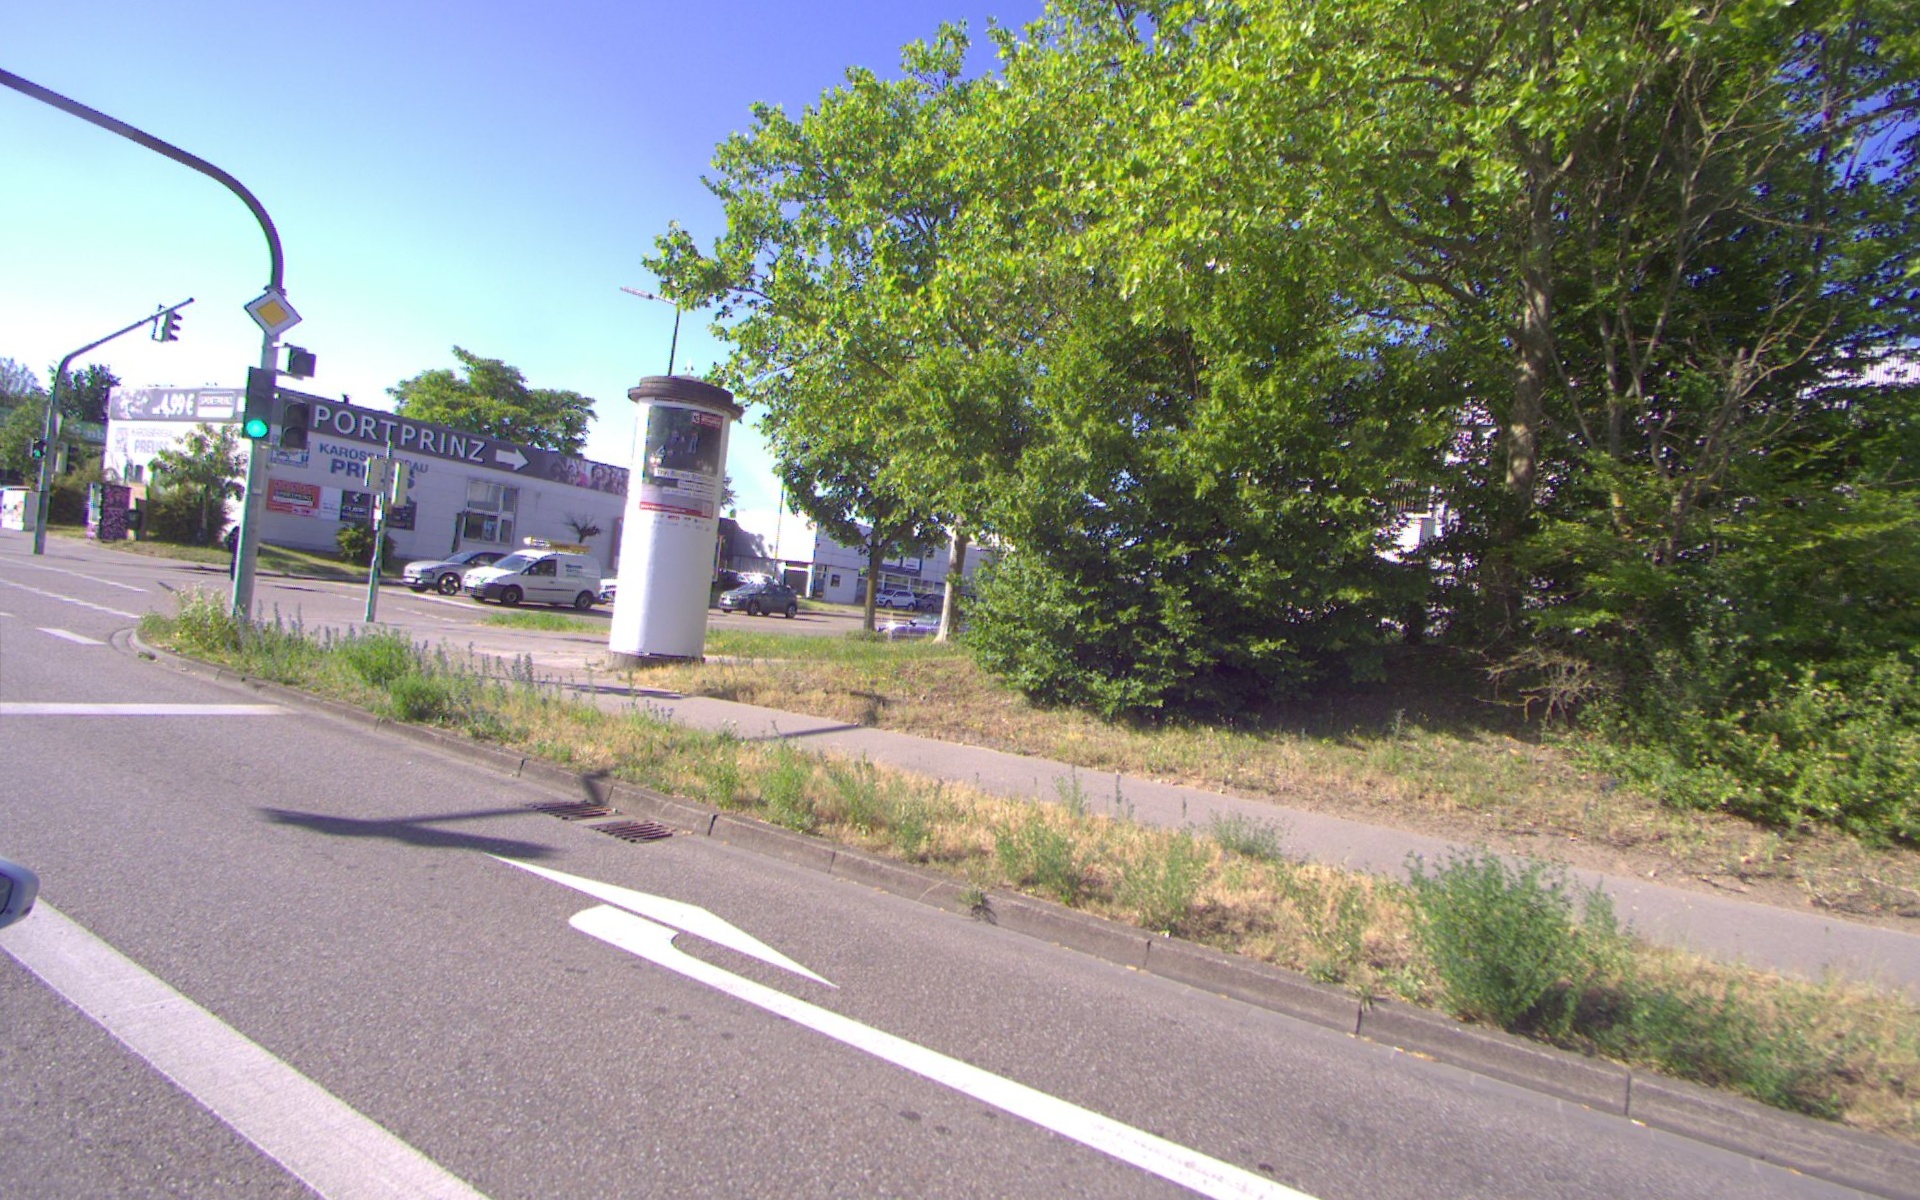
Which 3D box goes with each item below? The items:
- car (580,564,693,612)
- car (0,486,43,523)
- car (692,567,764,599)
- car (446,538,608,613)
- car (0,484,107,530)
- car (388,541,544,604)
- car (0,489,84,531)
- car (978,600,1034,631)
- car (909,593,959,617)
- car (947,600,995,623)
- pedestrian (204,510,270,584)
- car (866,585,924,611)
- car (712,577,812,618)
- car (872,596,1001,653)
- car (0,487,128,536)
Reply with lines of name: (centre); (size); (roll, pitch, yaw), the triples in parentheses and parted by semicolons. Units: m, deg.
car: (-12.707, -0.450, 39.767); (1.752, 1.509, 4.046); (6, 0, 29)
car: (-44.555, -4.512, 45.266); (1.828, 1.472, 4.490); (6, 1, 33)
car: (-14.249, -1.076, 61.689); (4.495, 1.509, 1.758); (6, 1, 36)
car: (-13.516, -0.713, 31.678); (1.735, 1.824, 4.388); (8, 1, 30)
car: (-38.796, -3.949, 41.986); (1.828, 1.472, 4.490); (6, 1, 33)
car: (-16.301, -0.866, 33.414); (1.735, 1.568, 4.293); (8, 1, 30)
car: (-41.208, -4.028, 43.614); (1.828, 1.472, 4.490); (6, 1, 33)
car: (3.399, 1.155, 73.772); (1.737, 1.893, 4.549); (6, 1, 35)
car: (-2.040, 0.413, 79.276); (1.737, 1.509, 4.099); (6, 1, 35)
car: (0.933, 0.970, 83.460); (1.737, 1.509, 4.228); (6, 1, 35)
pedestrian: (-18.795, -1.372, 26.153); (0.923, 1.755, 0.927); (6, -2, 31)
car: (-4.865, -0.125, 75.591); (1.737, 1.509, 4.549); (6, 1, 35)
car: (-8.955, -0.090, 45.861); (1.736, 1.509, 4.552); (6, 1, 33)
car: (-0.811, 0.843, 34.830); (3.983, 1.509, 1.780); (6, 1, 27)
car: (-36.657, -3.570, 40.478); (1.828, 1.472, 4.490); (6, 1, 33)
